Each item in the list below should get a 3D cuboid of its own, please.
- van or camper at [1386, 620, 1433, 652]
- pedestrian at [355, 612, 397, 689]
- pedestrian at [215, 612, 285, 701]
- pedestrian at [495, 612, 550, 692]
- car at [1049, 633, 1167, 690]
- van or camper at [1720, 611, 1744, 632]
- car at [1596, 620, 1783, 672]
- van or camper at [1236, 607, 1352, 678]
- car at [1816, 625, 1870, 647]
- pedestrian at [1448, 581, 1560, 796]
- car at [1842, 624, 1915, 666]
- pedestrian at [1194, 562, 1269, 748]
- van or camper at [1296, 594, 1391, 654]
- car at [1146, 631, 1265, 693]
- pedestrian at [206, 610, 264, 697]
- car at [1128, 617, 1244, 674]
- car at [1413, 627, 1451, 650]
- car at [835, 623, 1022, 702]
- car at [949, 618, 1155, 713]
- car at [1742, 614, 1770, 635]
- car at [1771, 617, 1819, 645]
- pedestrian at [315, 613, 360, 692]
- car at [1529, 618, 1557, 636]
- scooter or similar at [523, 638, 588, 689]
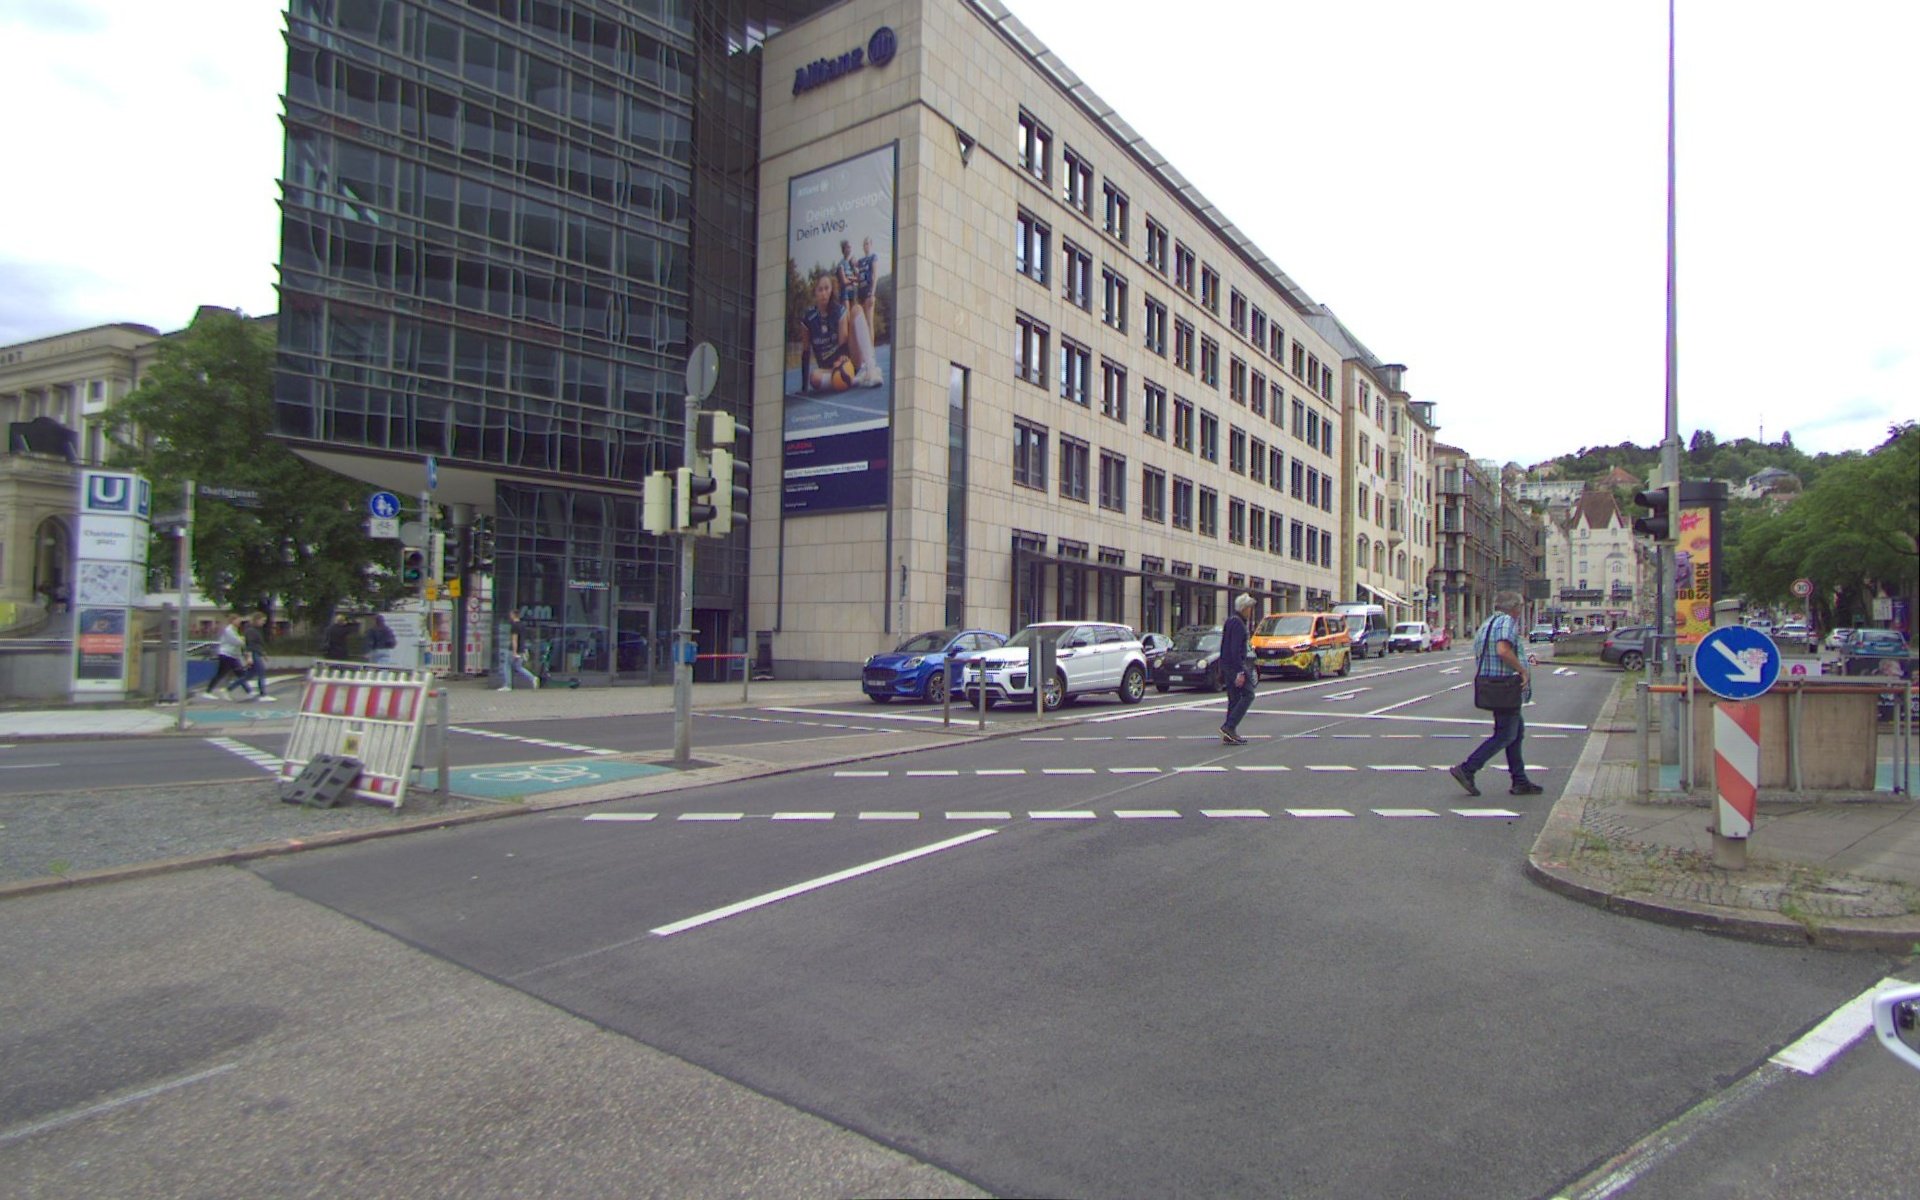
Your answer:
[{"bbox_3d":[26.873,2.129,59.950,1.842,1.775,4.473,0,-1,34],"label":"van or camper"},{"bbox_3d":[-13.349,1.147,22.959,0.634,1.723,0.629,-1,-1,40],"label":"pedestrian"},{"bbox_3d":[-13.512,1.073,19.143,0.955,1.634,0.649,4,-3,-31],"label":"pedestrian"},{"bbox_3d":[-10.185,1.194,23.405,0.914,1.834,0.697,0,-1,11],"label":"pedestrian"},{"bbox_3d":[3.952,1.569,26.399,1.536,1.359,3.619,-2,-2,36],"label":"car"},{"bbox_3d":[116.791,3.245,151.940,2.593,3.221,5.784,0,-1,35],"label":"van or camper"},{"bbox_3d":[22.611,1.383,31.252,4.503,1.478,1.870,-1,-2,44],"label":"car"},{"bbox_3d":[10.020,1.248,29.885,1.888,1.947,5.067,-2,-3,35],"label":"van or camper"},{"bbox_3d":[59.411,2.443,67.681,2.027,1.437,4.323,-2,-2,32],"label":"car"},{"bbox_3d":[4.852,0.766,8.954,0.706,1.814,0.632,-4,-2,35],"label":"pedestrian"},{"bbox_3d":[35.432,1.729,38.827,1.810,1.537,3.751,-2,-2,39],"label":"car"},{"bbox_3d":[3.368,0.666,12.446,0.861,2.201,0.763,0,-1,18],"label":"pedestrian"},{"bbox_3d":[19.031,1.182,49.605,2.962,2.762,6.225,0,-1,35],"label":"van or camper"},{"bbox_3d":[6.072,1.464,24.617,1.536,1.397,3.619,-2,-2,36],"label":"car"},{"bbox_3d":[-14.255,1.055,19.763,0.778,1.652,0.600,4,-1,-31],"label":"pedestrian"},{"bbox_3d":[7.273,1.424,31.972,1.967,1.667,4.668,-2,-3,35],"label":"car"},{"bbox_3d":[30.702,2.465,65.286,1.763,1.424,3.573,-1,-1,34],"label":"car"},{"bbox_3d":[-0.585,1.278,21.788,1.968,1.545,4.076,-1,-2,37],"label":"car"},{"bbox_3d":[1.870,1.187,19.331,1.716,1.619,4.295,-1,-2,43],"label":"car"},{"bbox_3d":[73.687,2.285,93.012,1.809,1.899,4.853,-2,-2,37],"label":"car"},{"bbox_3d":[49.713,1.850,59.866,1.807,1.587,3.756,-1,-2,34],"label":"car"},{"bbox_3d":[-13.784,1.148,22.248,0.758,1.723,0.629,-1,-2,40],"label":"pedestrian"},{"bbox_3d":[51.733,2.392,89.144,1.892,1.547,4.529,0,-1,34],"label":"car"},{"bbox_3d":[-9.918,1.554,24.642,1.358,1.224,0.533,0,-1,5],"label":"scooter or similar"}]
